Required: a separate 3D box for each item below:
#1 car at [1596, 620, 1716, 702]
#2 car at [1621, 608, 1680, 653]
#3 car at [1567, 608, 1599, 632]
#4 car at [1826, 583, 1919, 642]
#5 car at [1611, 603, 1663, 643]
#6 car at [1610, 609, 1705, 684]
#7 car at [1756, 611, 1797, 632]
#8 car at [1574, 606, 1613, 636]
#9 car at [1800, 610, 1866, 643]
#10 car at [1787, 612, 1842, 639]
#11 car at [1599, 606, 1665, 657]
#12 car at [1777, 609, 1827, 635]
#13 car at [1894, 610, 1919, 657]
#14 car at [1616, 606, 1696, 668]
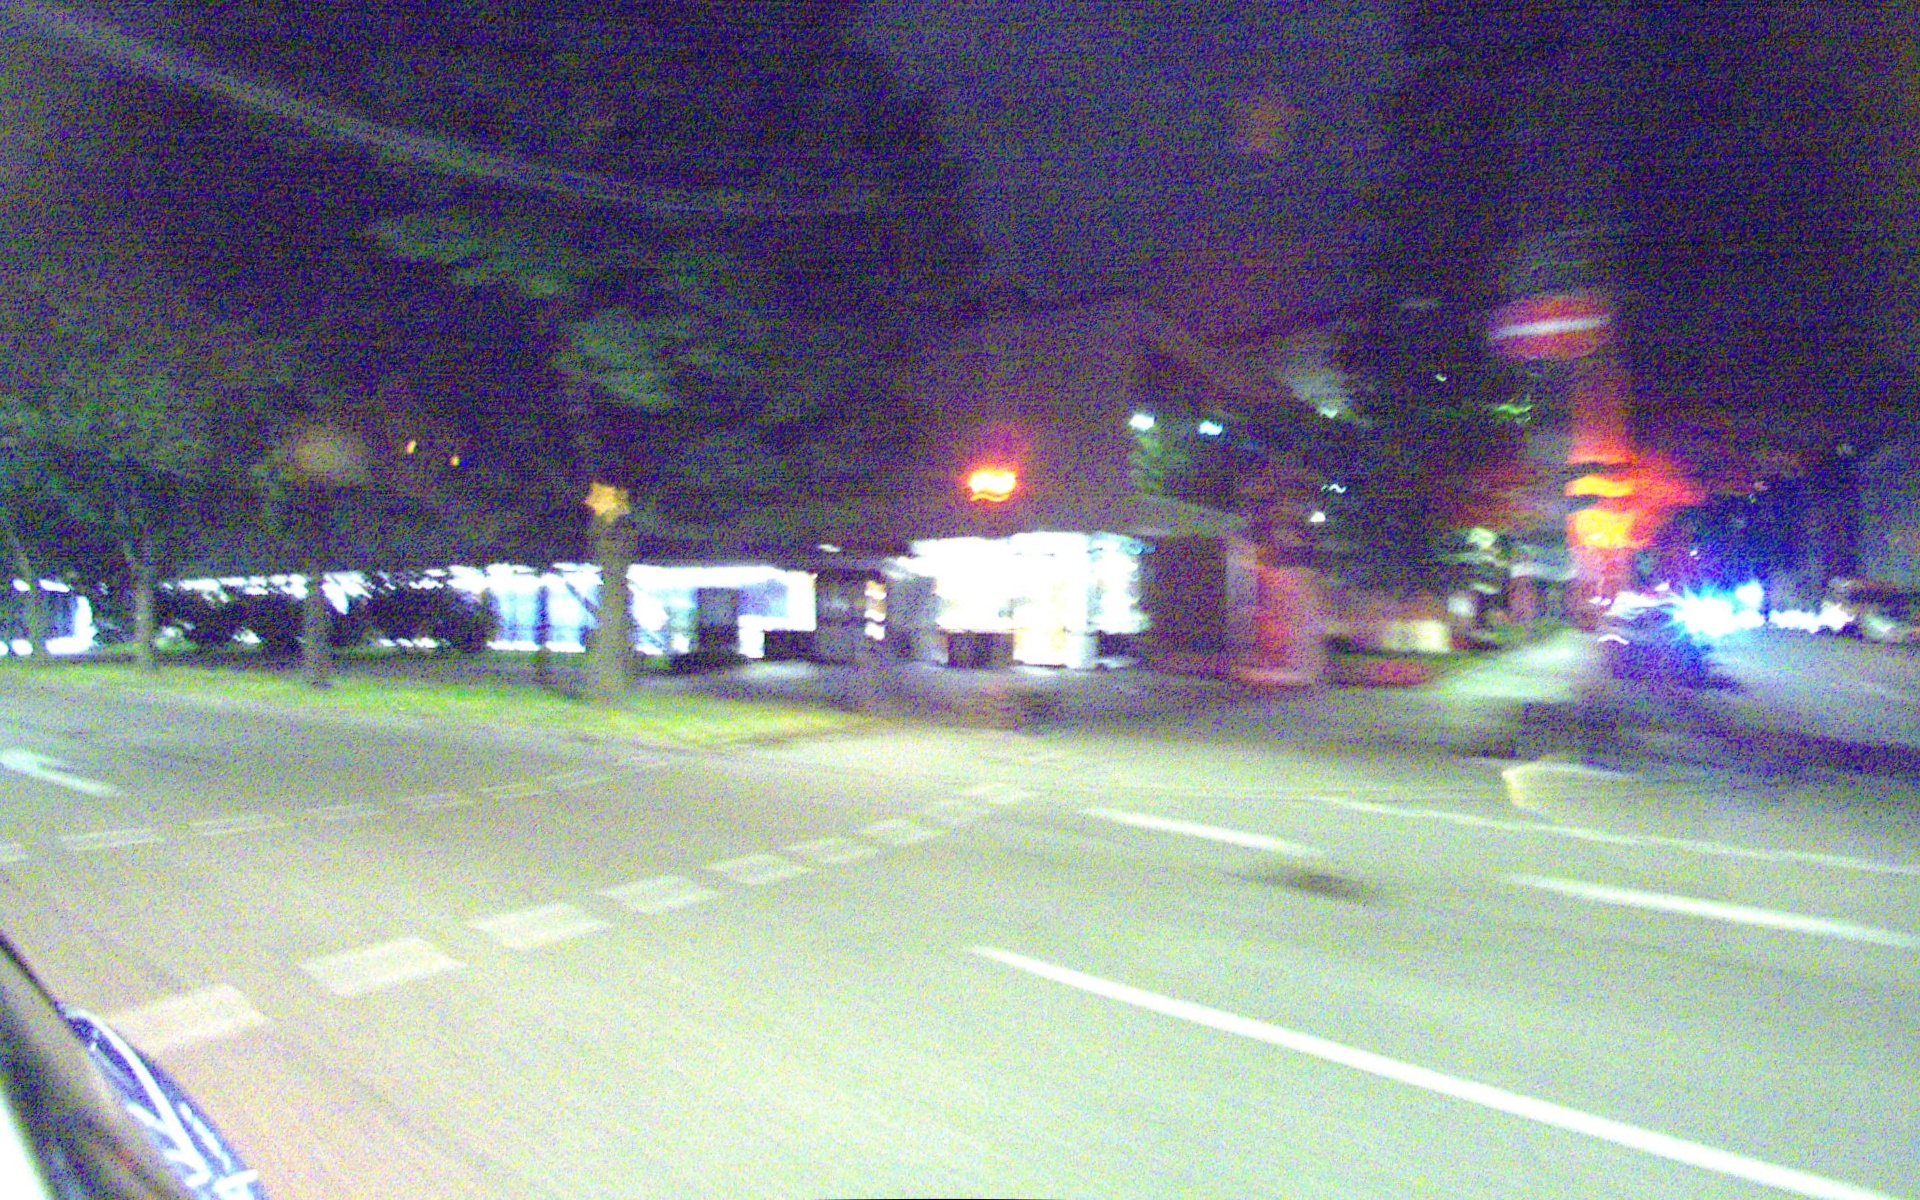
[{"bbox_3d":[14.531,1.178,21.178,1.829,1.403,4.337,4,1,35],"label":"car"},{"bbox_3d":[29.278,1.242,42.994,1.889,1.689,4.339,4,1,34],"label":"car"},{"bbox_3d":[44.792,1.419,72.727,1.888,1.690,4.341,0,0,32],"label":"car"},{"bbox_3d":[38.384,0.585,42.720,2.164,2.351,5.658,-2,-2,35],"label":"car"},{"bbox_3d":[32.150,1.060,48.086,1.889,1.689,4.339,4,1,34],"label":"car"},{"bbox_3d":[18.293,1.142,26.588,1.829,1.689,4.337,4,1,35],"label":"car"},{"bbox_3d":[60.924,1.602,75.578,1.919,1.526,5.044,-2,-2,35],"label":"car"},{"bbox_3d":[37.762,1.203,60.331,1.888,1.690,4.341,1,0,32],"label":"car"},{"bbox_3d":[43.479,1.333,50.520,1.919,1.526,5.044,-2,-2,35],"label":"car"},{"bbox_3d":[49.640,1.504,58.907,1.919,1.526,5.044,-2,-2,35],"label":"car"},{"bbox_3d":[25.382,1.144,38.258,1.889,1.689,4.339,4,1,34],"label":"car"},{"bbox_3d":[52.683,1.415,63.423,1.919,1.526,5.044,-2,-2,35],"label":"car"},{"bbox_3d":[32.816,1.110,33.610,1.919,1.526,5.044,-2,-2,35],"label":"car"},{"bbox_3d":[21.921,1.118,31.906,1.890,1.721,4.337,4,1,35],"label":"car"}]
